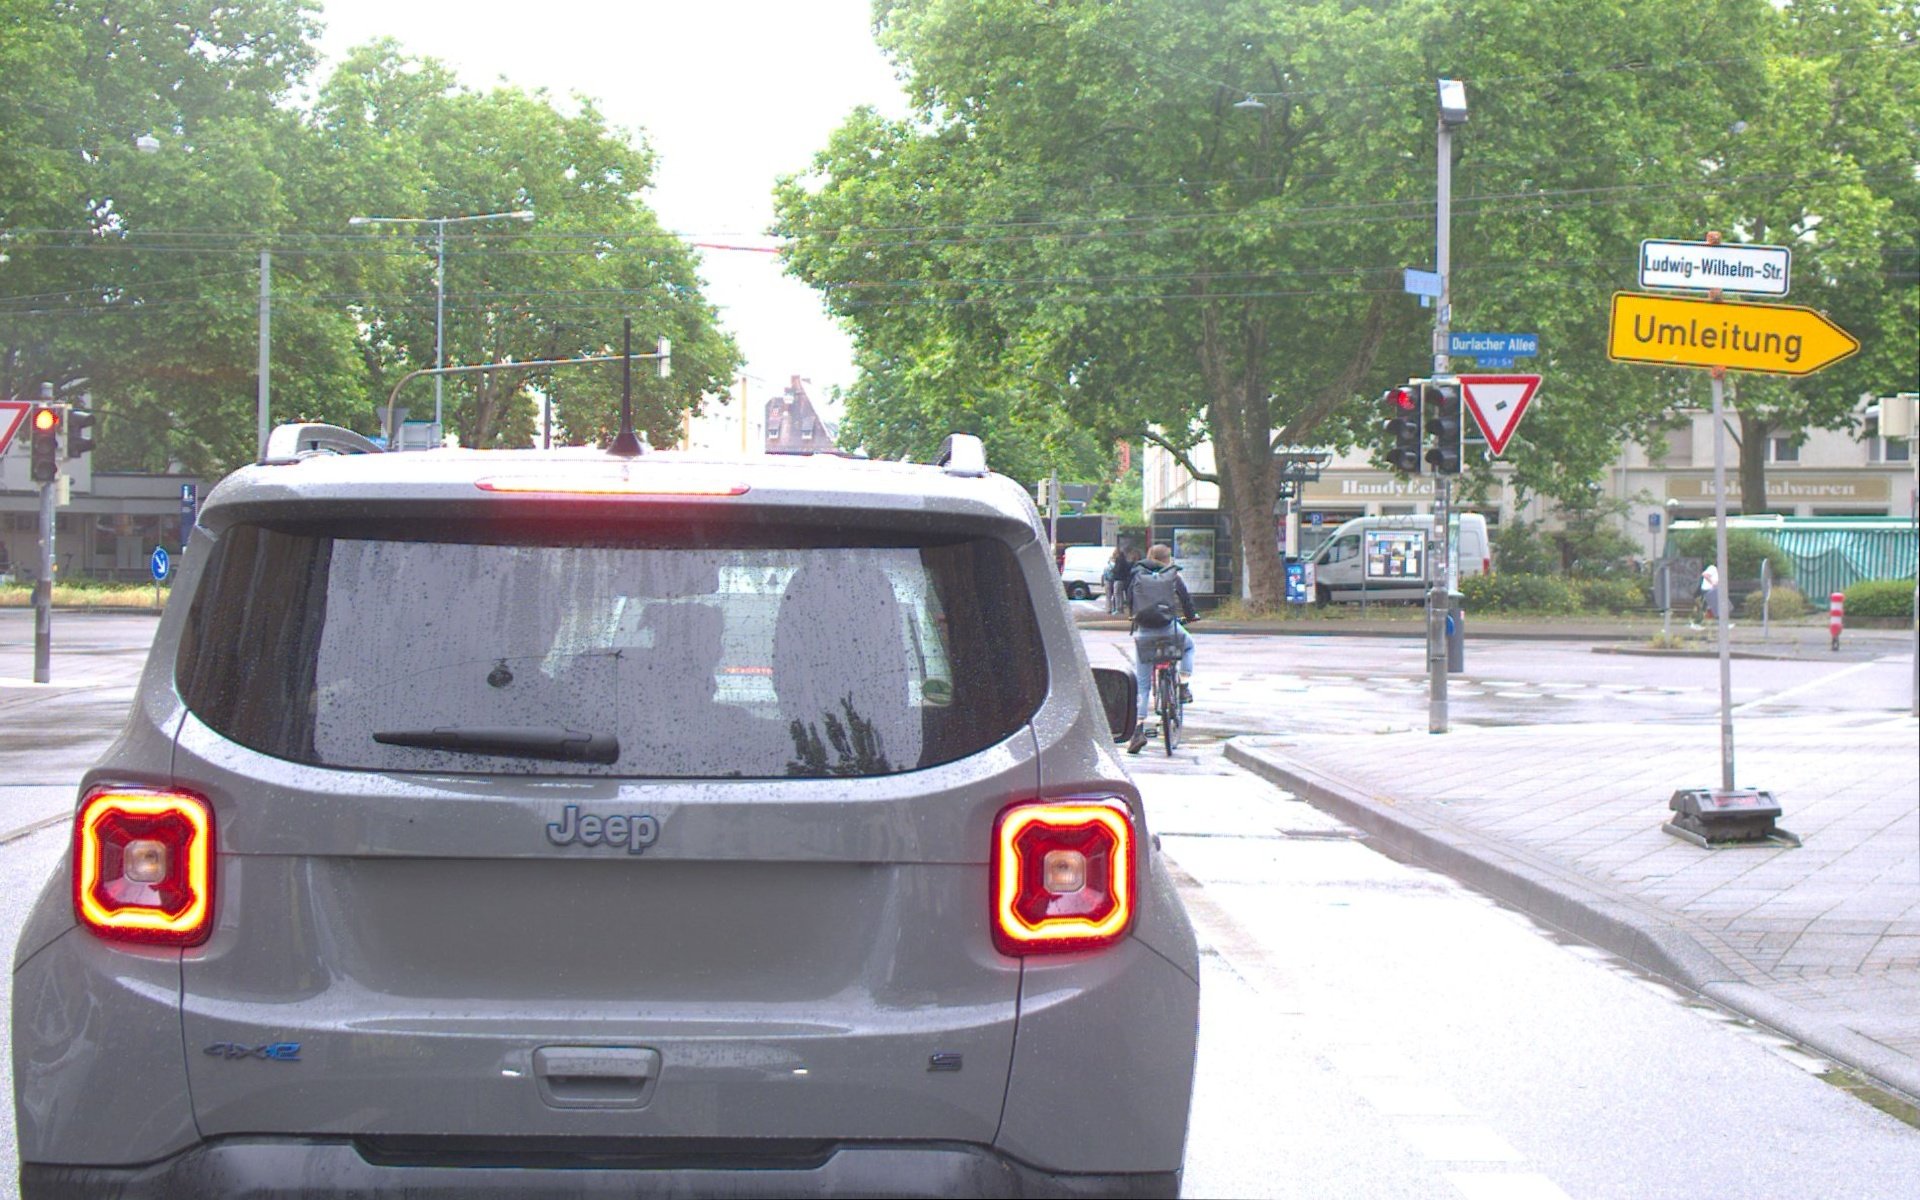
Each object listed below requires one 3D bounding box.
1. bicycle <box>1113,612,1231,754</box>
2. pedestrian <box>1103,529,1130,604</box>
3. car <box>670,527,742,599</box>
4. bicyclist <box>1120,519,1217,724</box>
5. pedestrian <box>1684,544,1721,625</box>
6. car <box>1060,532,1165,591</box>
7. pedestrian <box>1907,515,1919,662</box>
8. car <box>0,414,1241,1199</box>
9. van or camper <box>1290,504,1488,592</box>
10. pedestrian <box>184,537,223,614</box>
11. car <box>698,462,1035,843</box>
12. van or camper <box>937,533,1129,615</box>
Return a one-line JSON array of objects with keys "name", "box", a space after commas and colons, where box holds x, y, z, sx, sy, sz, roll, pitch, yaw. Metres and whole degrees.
[{"name": "bicycle", "box": [1.672, 0.640, 27.537, 0.691, 1.018, 2.658, 0, 1, -2]}, {"name": "pedestrian", "box": [4.240, -0.904, 93.096, 0.651, 2.007, 0.482, 1, 1, 12]}, {"name": "car", "box": [-6.280, -0.921, 84.908, 1.721, 1.733, 3.730, 0, 1, -5]}, {"name": "bicyclist", "box": [1.665, 0.159, 27.562, 0.687, 1.612, 0.884, 0, 1, -2]}, {"name": "pedestrian", "box": [14.655, -0.313, 67.842, 0.613, 1.598, 0.493, 1, 1, 24]}, {"name": "car", "box": [5.320, -1.343, 119.940, 3.438, 2.007, 1.547, 0, 0, 13]}, {"name": "pedestrian", "box": [11.850, -0.141, 41.485, 0.786, 1.753, 0.945, 0, 1, 14]}, {"name": "car", "box": [-0.564, 0.560, 6.565, 1.775, 1.681, 3.848, -1, 1, -2]}, {"name": "van or camper", "box": [11.853, -1.454, 95.214, 5.260, 2.307, 2.090, 1, 1, 3]}, {"name": "pedestrian", "box": [-18.033, -0.580, 81.971, 0.692, 1.820, 0.620, 0, 1, 15]}, {"name": "car", "box": [-0.532, 0.242, 20.215, 1.770, 2.007, 4.000, 0, 1, -1]}, {"name": "van or camper", "box": [2.650, -0.973, 125.168, 6.535, 2.902, 2.491, 1, 1, 24]}]
